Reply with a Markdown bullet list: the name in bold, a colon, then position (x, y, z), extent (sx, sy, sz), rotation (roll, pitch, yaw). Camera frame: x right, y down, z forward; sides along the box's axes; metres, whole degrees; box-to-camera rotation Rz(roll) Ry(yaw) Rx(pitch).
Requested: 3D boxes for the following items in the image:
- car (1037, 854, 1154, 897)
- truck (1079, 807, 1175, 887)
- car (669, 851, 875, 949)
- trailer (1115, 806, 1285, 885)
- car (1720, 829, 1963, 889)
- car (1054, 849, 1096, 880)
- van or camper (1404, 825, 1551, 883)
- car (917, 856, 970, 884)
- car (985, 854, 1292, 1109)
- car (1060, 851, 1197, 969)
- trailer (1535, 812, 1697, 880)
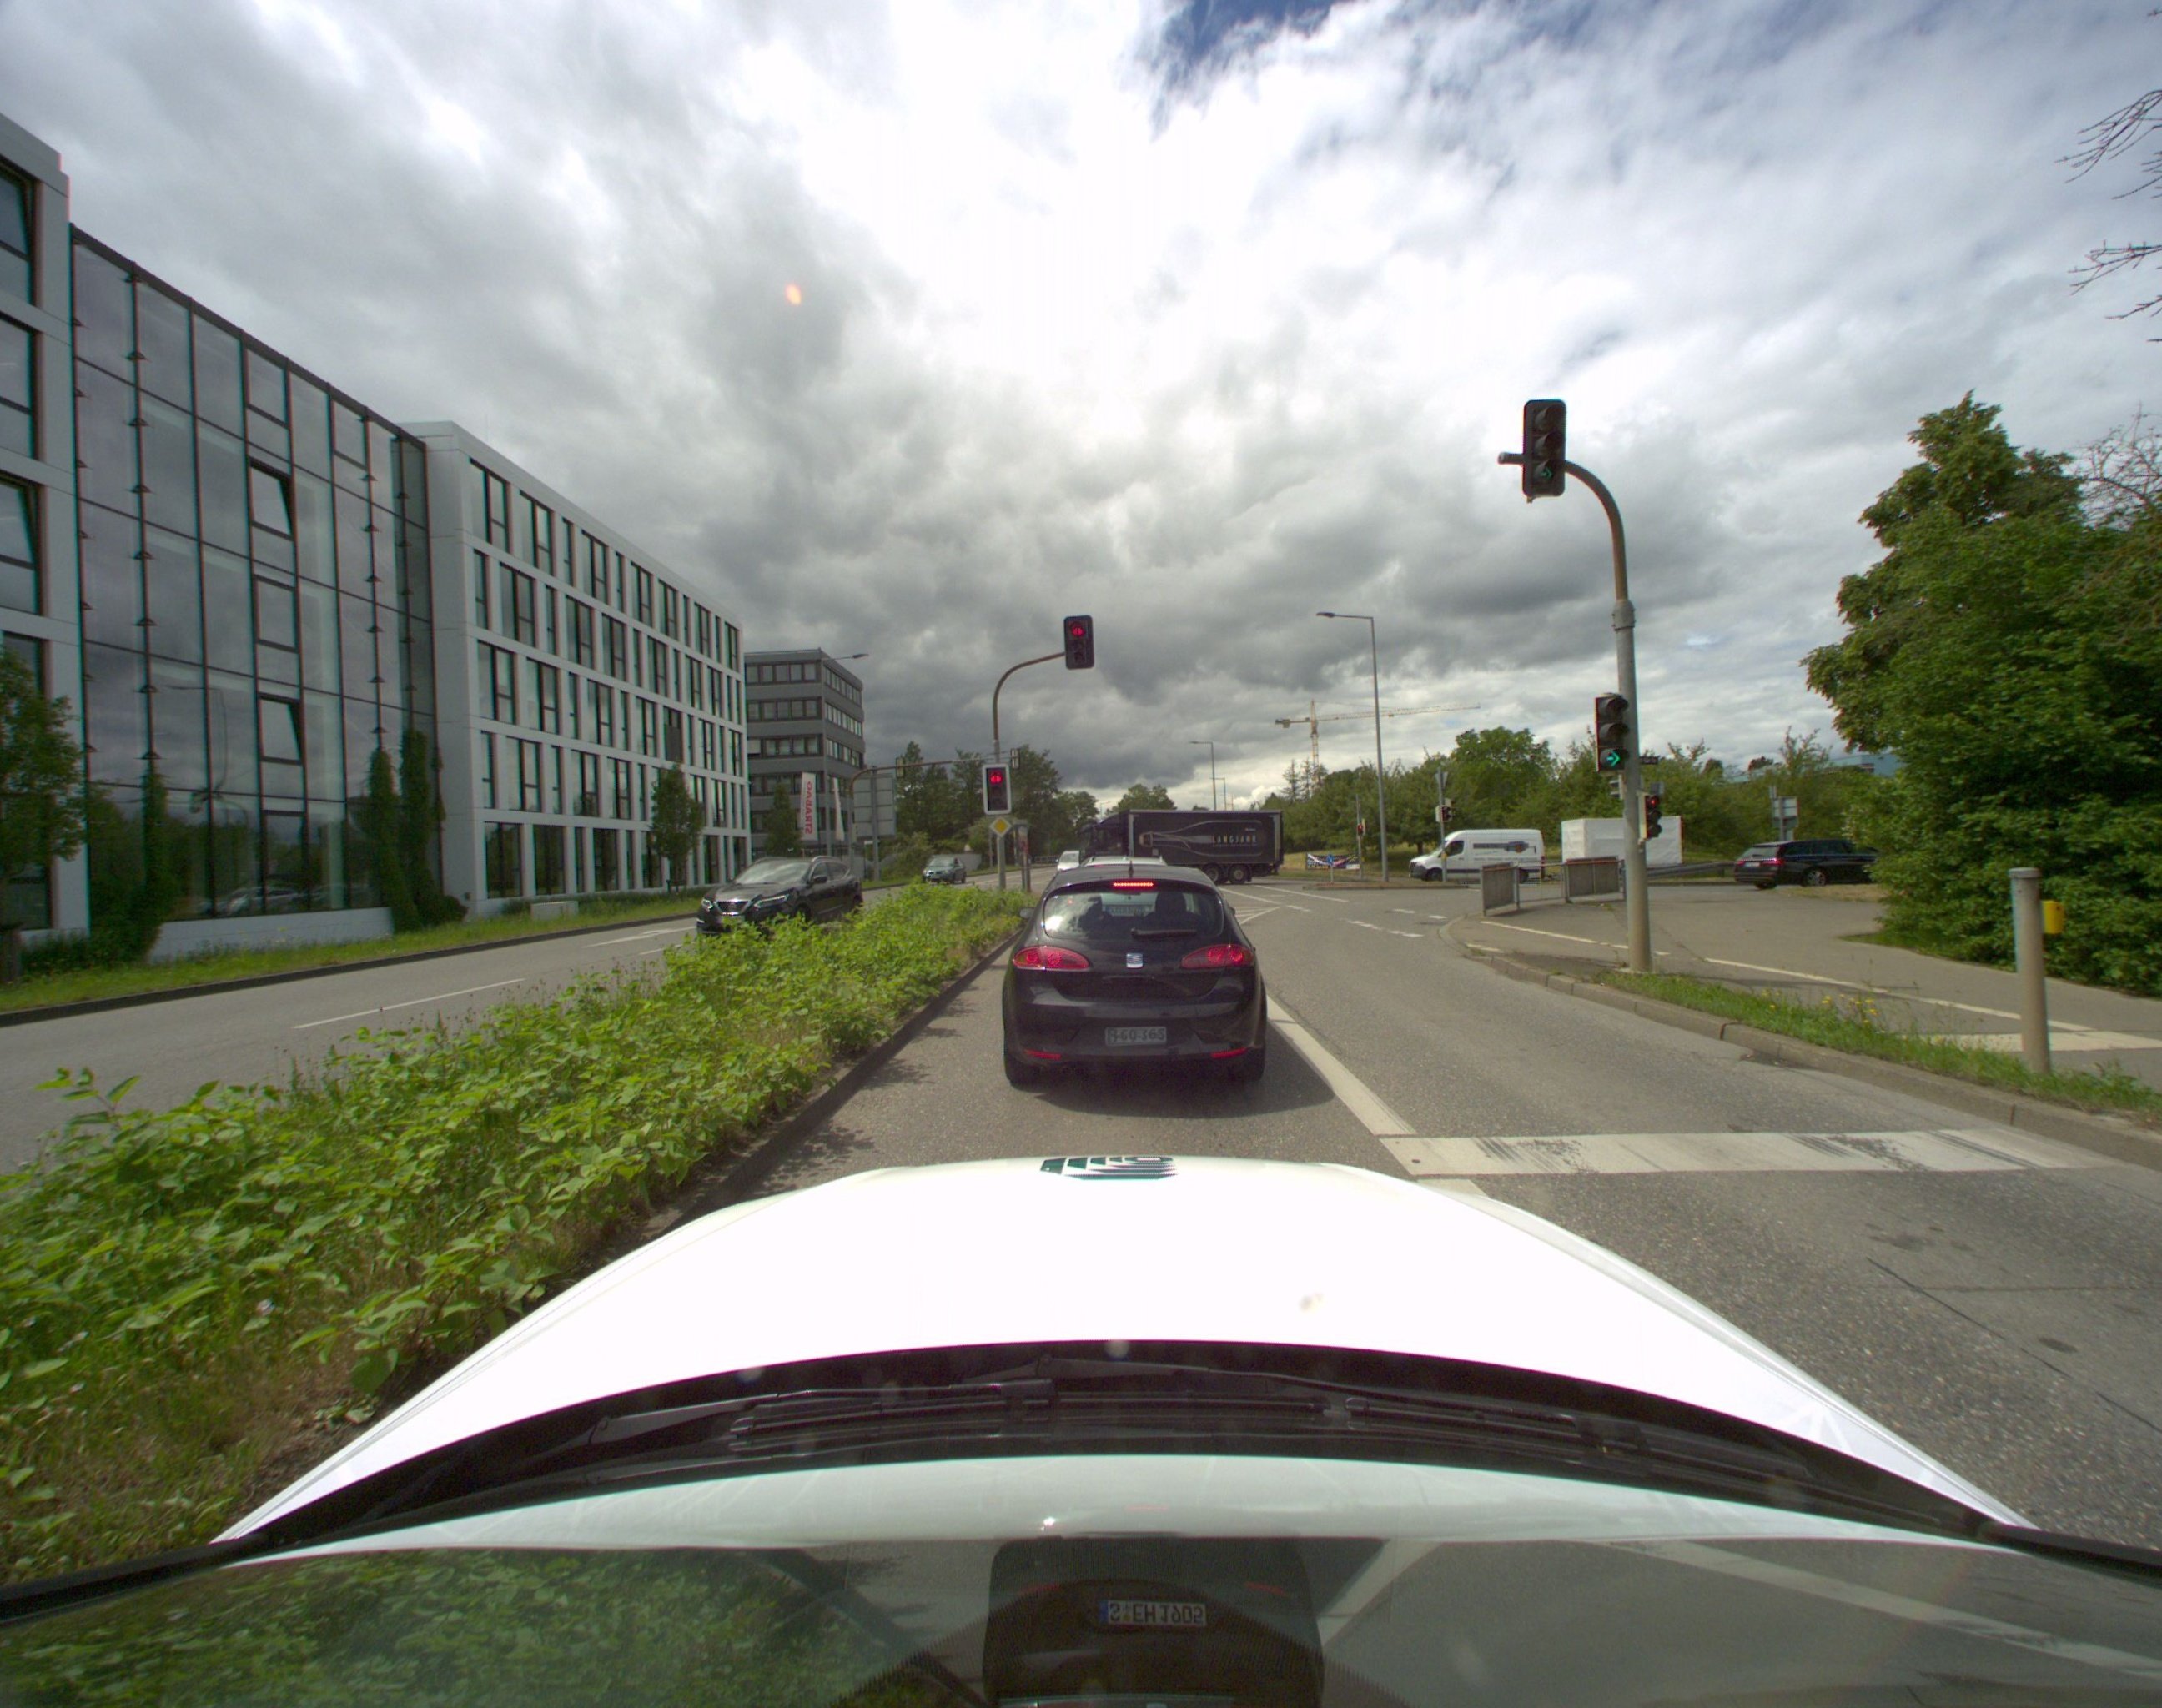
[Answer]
- **car**: position (0.569, 0.753, 30.564), extent (4.018, 1.420, 1.978), rotation (-2, 0, -36)
- **truck**: position (2.068, -0.337, 37.312), extent (3.988, 3.469, 1.993), rotation (-1, 0, -11)
- **car**: position (-5.860, 0.789, 16.114), extent (1.983, 1.615, 4.326), rotation (-2, 0, 6)
- **trailer**: position (5.542, -0.426, 38.079), extent (7.589, 3.458, 1.992), rotation (-1, 0, -12)
- **car**: position (21.961, 0.142, 23.672), extent (5.162, 1.440, 1.880), rotation (-3, 0, 2)
- **car**: position (-0.278, 0.570, 46.002), extent (1.984, 1.596, 4.006), rotation (-2, 0, 5)
- **van or camper**: position (18.678, 0.020, 38.686), extent (5.875, 2.532, 2.258), rotation (-1, 0, 13)
- **car**: position (-7.310, 0.835, 43.646), extent (1.986, 1.352, 4.002), rotation (-1, 0, 2)
- **car**: position (0.387, 0.748, 6.554), extent (1.766, 1.452, 3.583), rotation (-1, 0, 2)
- **car**: position (0.630, 0.750, 12.697), extent (1.768, 1.491, 3.581), rotation (-3, 0, 0)
- **trailer**: position (24.370, -0.335, 37.356), extent (5.726, 2.806, 2.255), rotation (-2, 0, 13)
